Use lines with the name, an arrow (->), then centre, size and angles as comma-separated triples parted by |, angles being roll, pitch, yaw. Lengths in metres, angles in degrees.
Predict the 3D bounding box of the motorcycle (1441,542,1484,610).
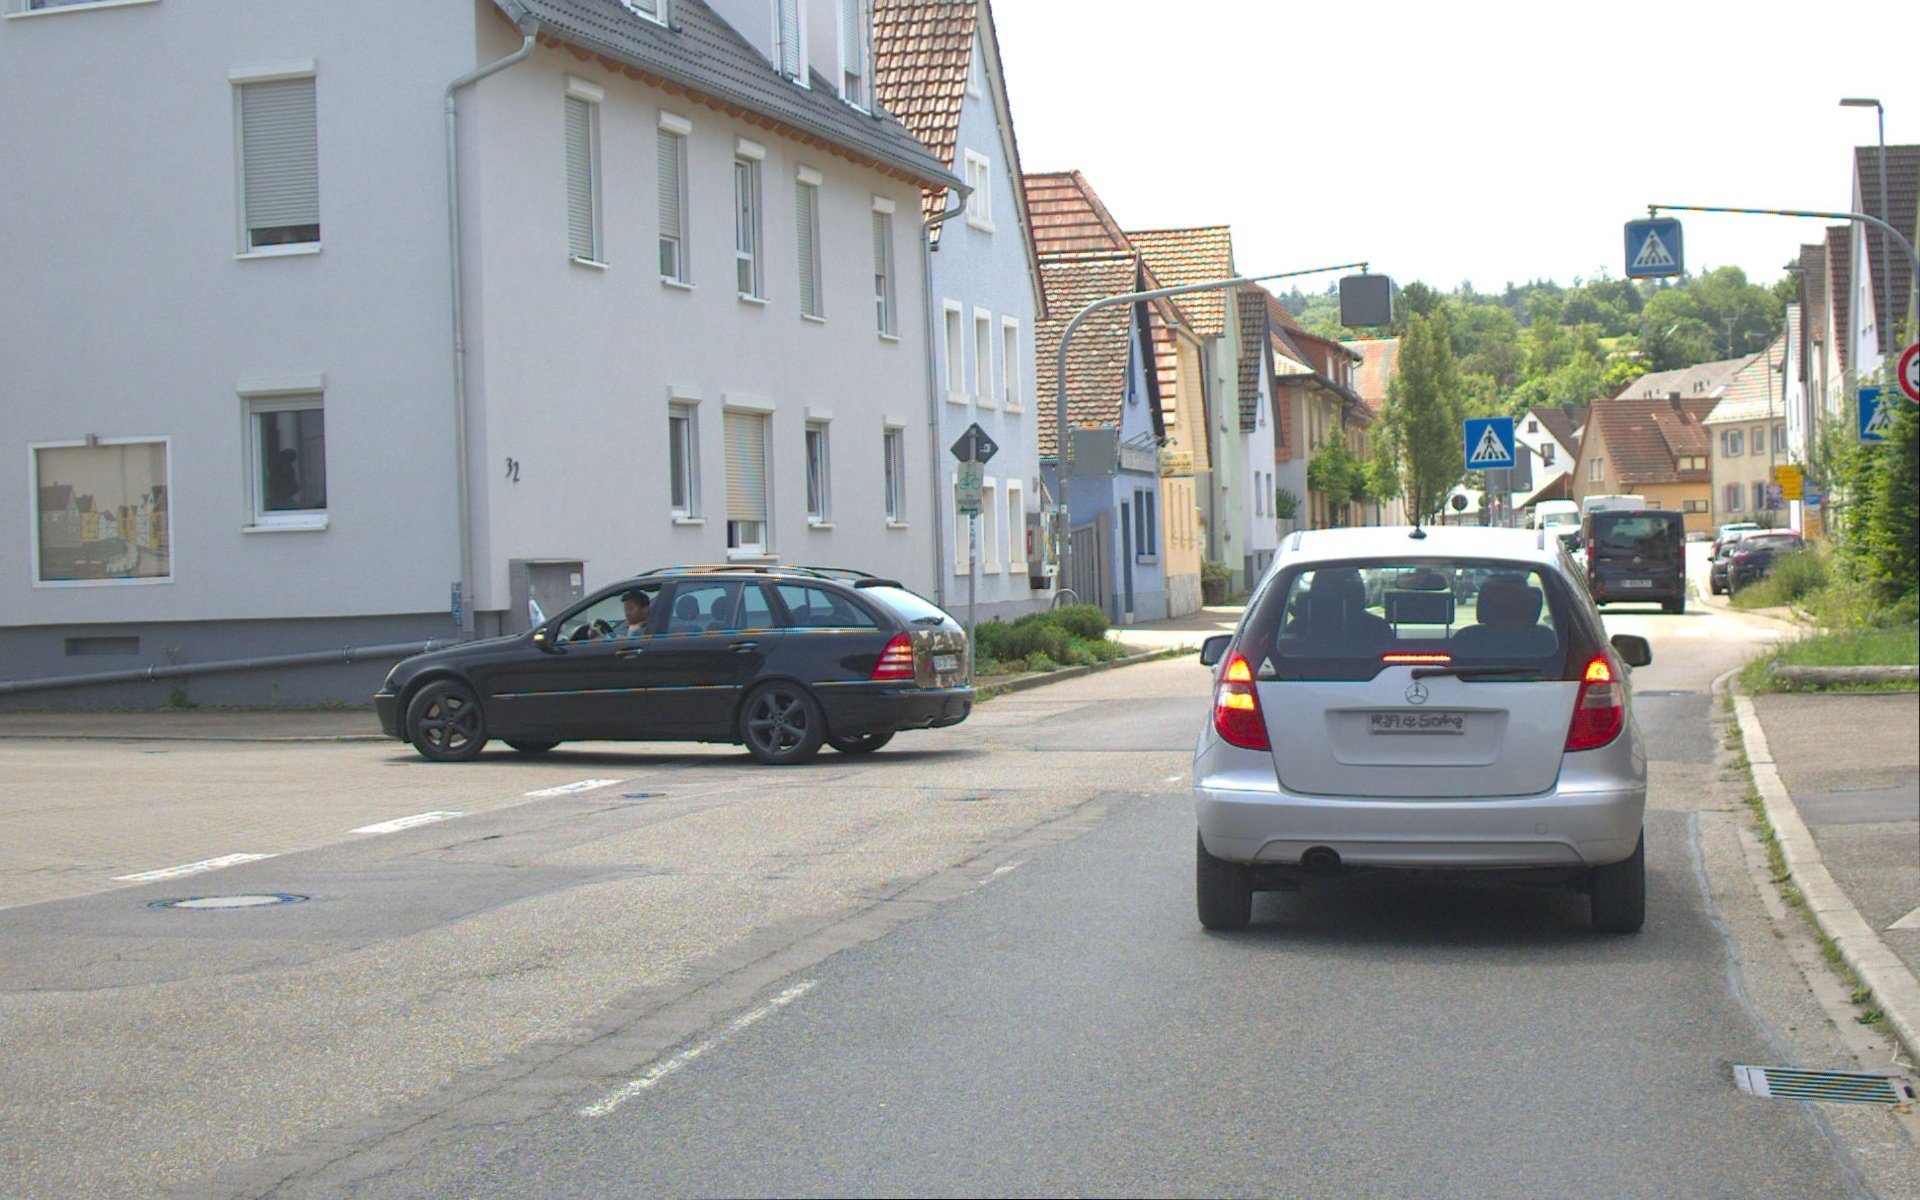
motorcycle -> 11.840, -0.576, 80.985 | 0.881, 1.555, 1.966 | -1, 1, 11

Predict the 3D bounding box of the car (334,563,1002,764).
car -> -2.172, 0.480, 25.678 | 4.625, 1.407, 1.812 | -1, -1, 19

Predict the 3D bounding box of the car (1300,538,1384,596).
car -> 9.342, -0.787, 84.156 | 1.994, 1.317, 3.708 | -1, -1, 6

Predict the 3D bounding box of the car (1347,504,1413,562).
car -> 12.528, -1.980, 102.412 | 1.668, 1.590, 3.998 | -1, -1, 11

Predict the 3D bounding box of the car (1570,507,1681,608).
car -> 12.637, -0.781, 65.472 | 1.994, 1.810, 3.998 | -1, -1, 10

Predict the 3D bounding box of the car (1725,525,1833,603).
car -> 17.004, -0.729, 71.522 | 1.994, 1.503, 3.998 | -1, -1, 11

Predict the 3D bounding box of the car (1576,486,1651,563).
car -> 18.253, -2.079, 95.964 | 1.994, 2.007, 3.998 | -1, -1, 11

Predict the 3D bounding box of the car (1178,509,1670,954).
car -> 2.023, 0.467, 14.722 | 1.811, 1.638, 3.728 | 1, 1, 9

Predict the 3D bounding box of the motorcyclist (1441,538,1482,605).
motorcyclist -> 11.816, -0.684, 80.971 | 0.897, 1.549, 0.806 | -1, 1, 11

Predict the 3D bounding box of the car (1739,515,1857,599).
car -> 16.025, -0.797, 65.860 | 1.994, 1.503, 3.998 | -1, -1, 11

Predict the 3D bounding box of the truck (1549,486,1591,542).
truck -> 30.764, -4.303, 173.323 | 1.994, 2.528, 6.736 | -1, -1, 10
